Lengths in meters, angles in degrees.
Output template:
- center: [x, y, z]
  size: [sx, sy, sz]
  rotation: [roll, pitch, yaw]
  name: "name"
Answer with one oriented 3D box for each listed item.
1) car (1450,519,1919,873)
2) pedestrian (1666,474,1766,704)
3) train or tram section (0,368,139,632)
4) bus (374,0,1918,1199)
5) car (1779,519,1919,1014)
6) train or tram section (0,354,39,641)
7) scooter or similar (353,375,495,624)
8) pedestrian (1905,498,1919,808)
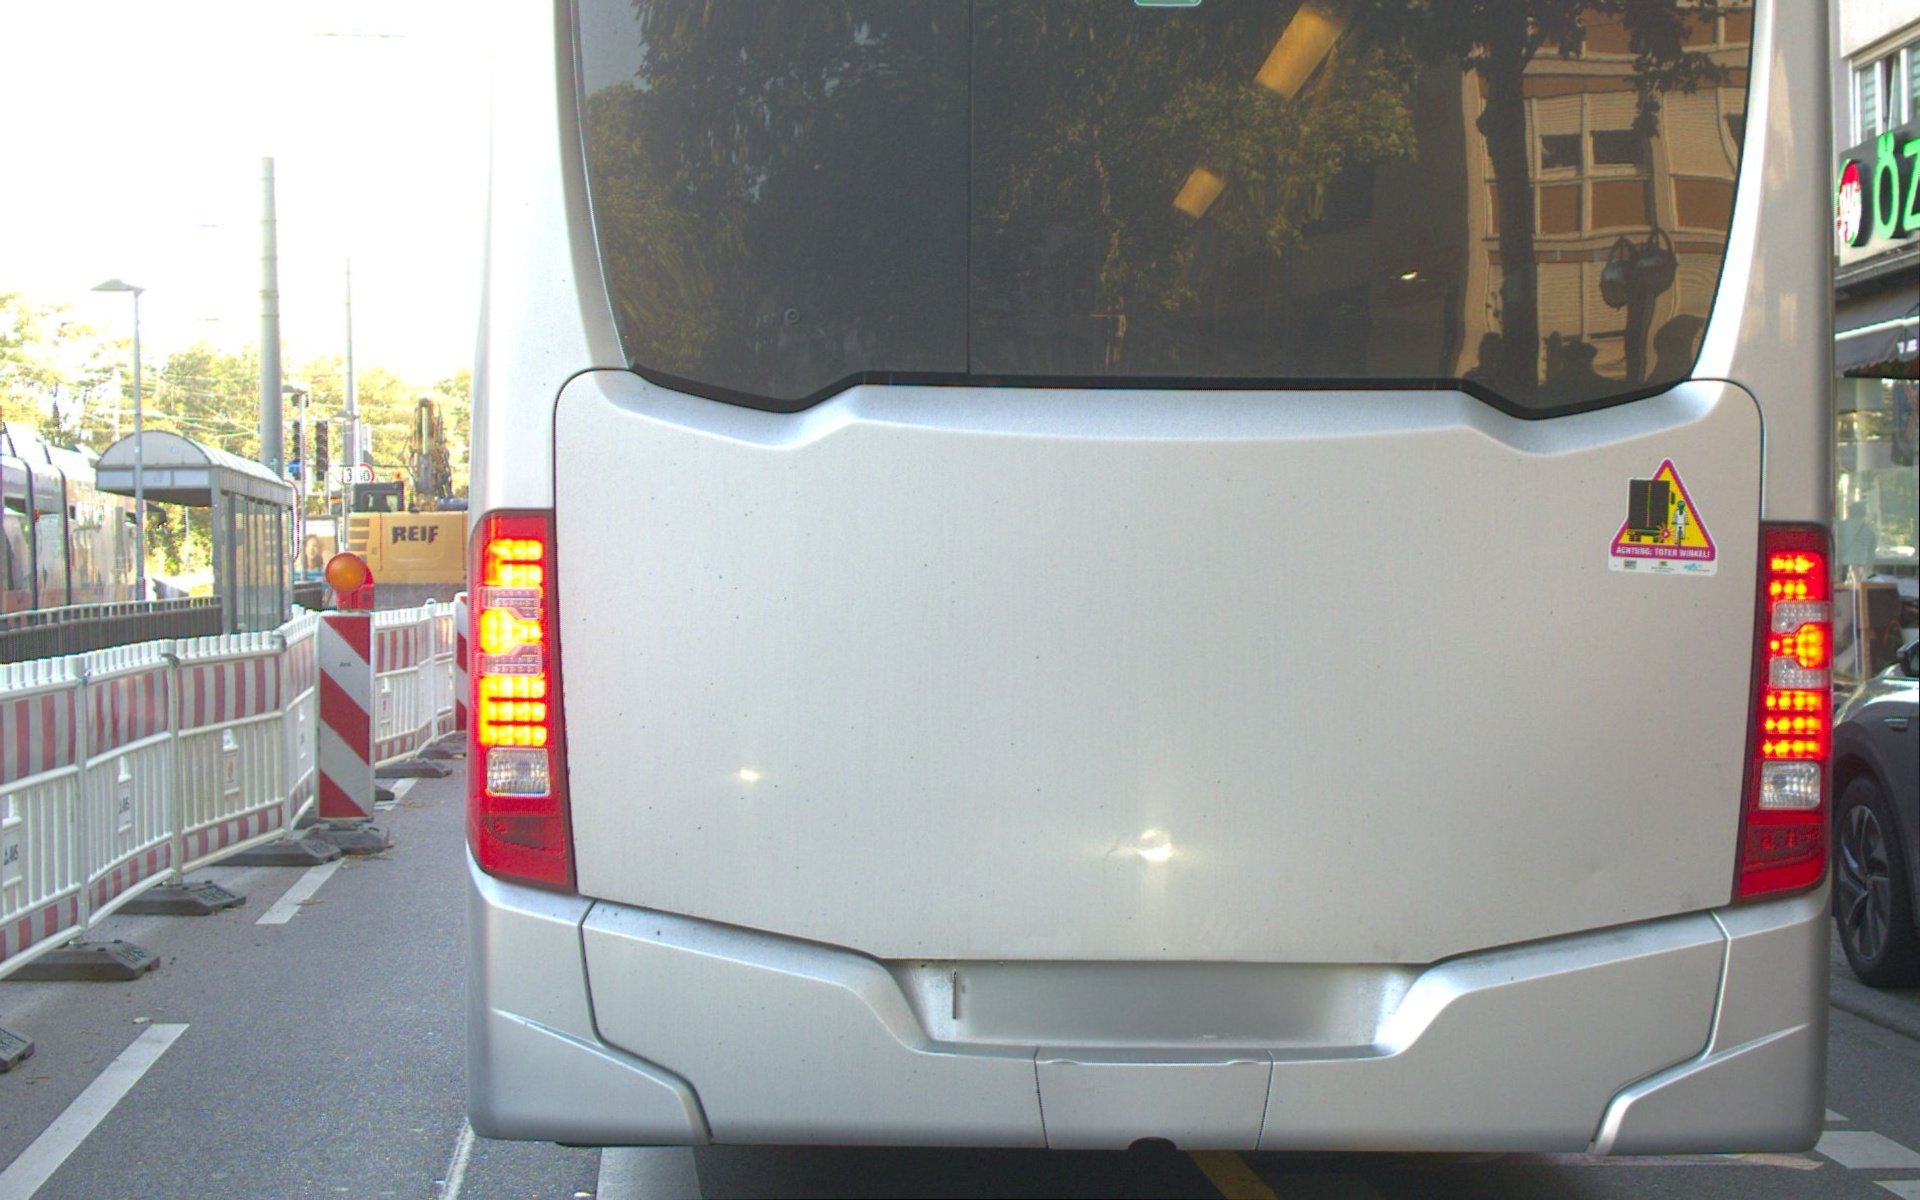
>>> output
- center: [4.140, 0.403, 18.371]
  size: [1.993, 1.576, 4.369]
  rotation: [-3, 1, -5]
  name: "car"
- center: [6.700, -0.100, 30.476]
  size: [0.685, 2.007, 0.786]
  rotation: [-1, 1, -1]
  name: "pedestrian"
- center: [-14.254, -1.411, 51.561]
  size: [2.686, 3.521, 11.585]
  rotation: [1, 1, -8]
  name: "train or tram section"
- center: [0.278, -0.227, 9.894]
  size: [2.611, 3.115, 7.993]
  rotation: [1, 1, -1]
  name: "bus"
- center: [4.138, 0.519, 10.155]
  size: [1.993, 1.576, 4.369]
  rotation: [-3, 1, -5]
  name: "car"
- center: [-12.873, -1.250, 40.033]
  size: [2.686, 3.546, 11.585]
  rotation: [1, 1, -8]
  name: "train or tram section"
- center: [-10.053, -1.852, 64.813]
  size: [2.468, 4.455, 5.974]
  rotation: [-1, 1, -8]
  name: "scooter or similar"
- center: [5.517, 0.269, 18.688]
  size: [0.664, 1.661, 0.600]
  rotation: [-2, 0, 16]
  name: "pedestrian"
